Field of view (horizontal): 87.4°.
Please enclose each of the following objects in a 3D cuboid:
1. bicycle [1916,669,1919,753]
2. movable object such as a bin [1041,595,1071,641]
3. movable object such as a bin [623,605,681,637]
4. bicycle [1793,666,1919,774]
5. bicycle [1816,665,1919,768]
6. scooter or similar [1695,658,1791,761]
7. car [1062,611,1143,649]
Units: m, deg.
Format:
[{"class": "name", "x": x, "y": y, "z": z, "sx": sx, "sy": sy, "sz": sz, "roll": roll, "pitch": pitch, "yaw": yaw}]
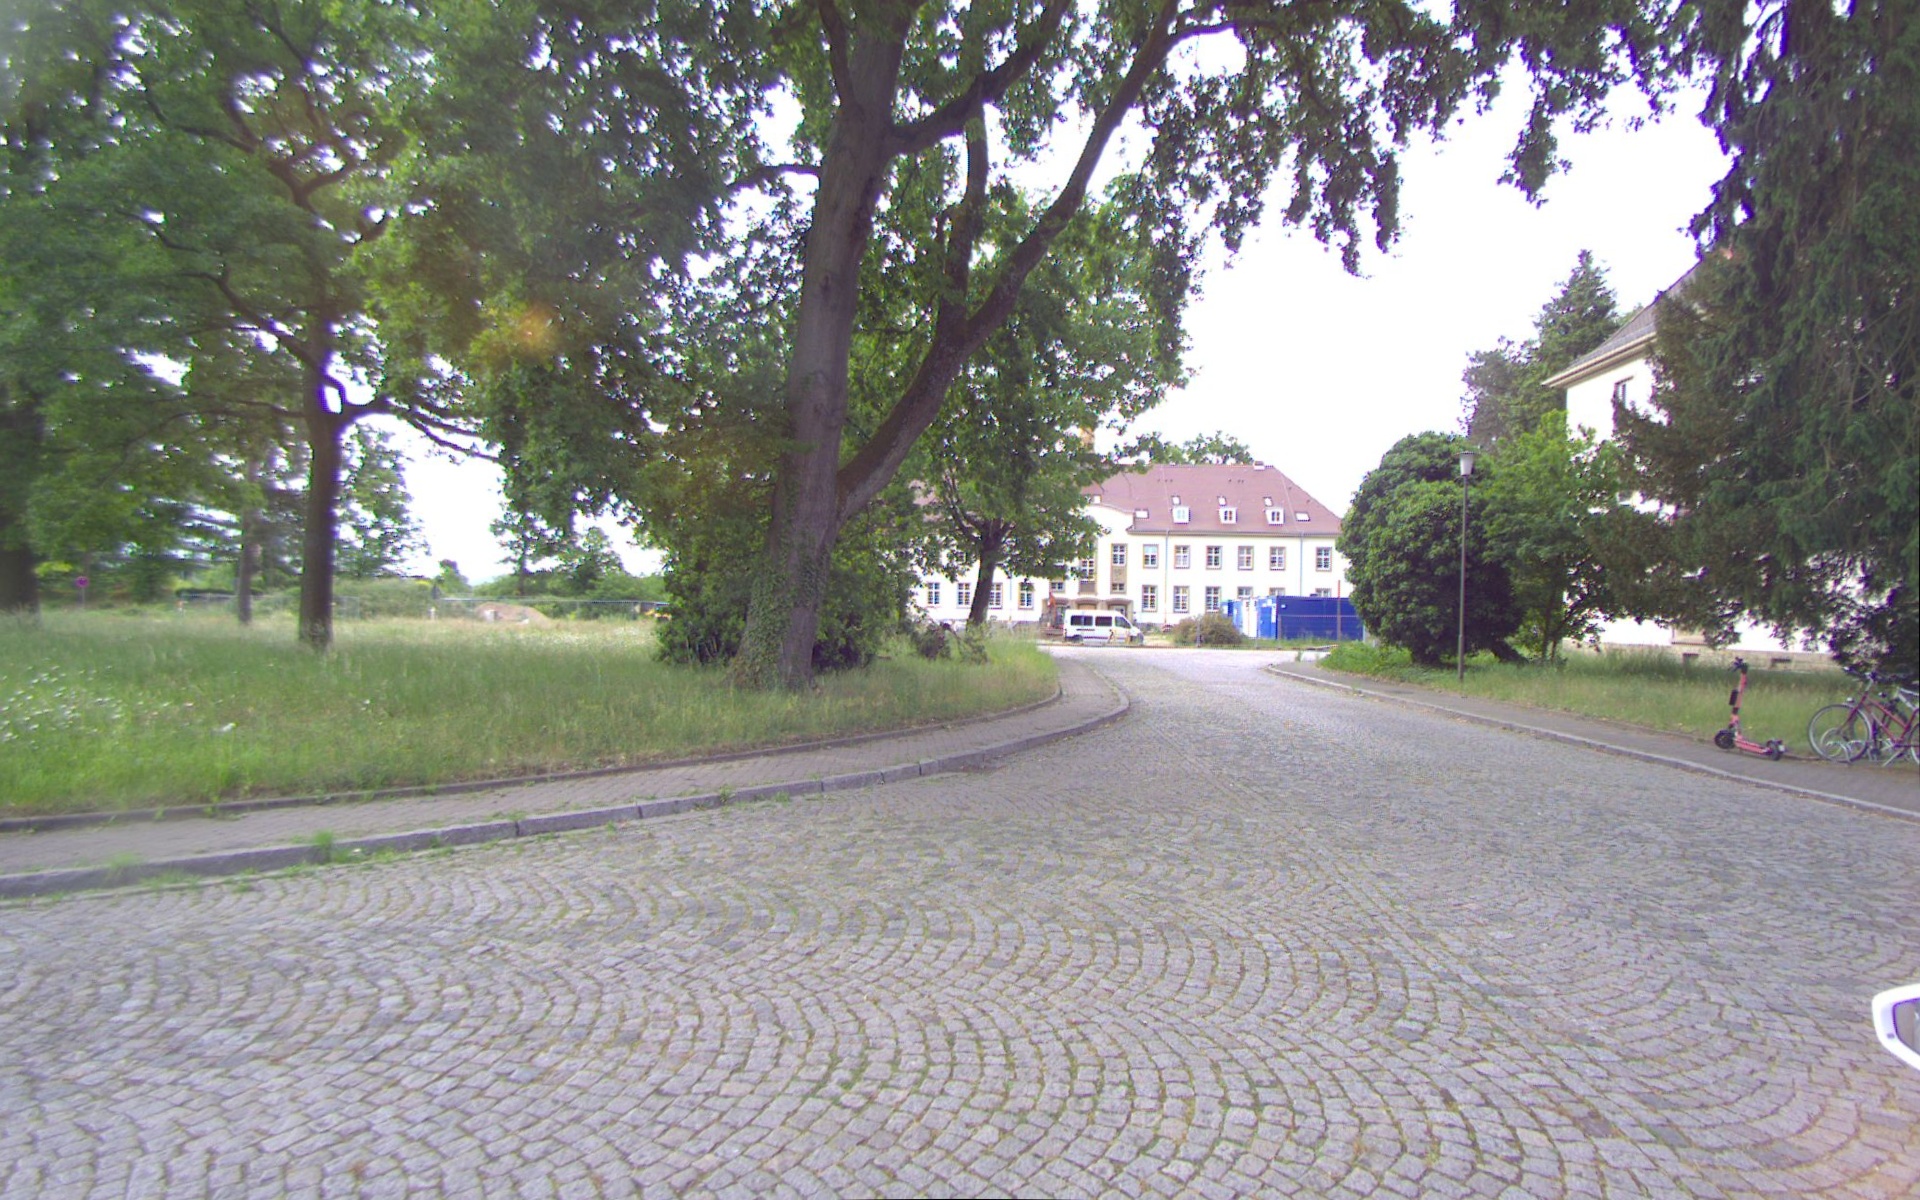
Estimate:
[{"class": "bicycle", "x": 12.883, "y": 1.421, "z": 12.163, "sx": 0.609, "sy": 1.079, "sz": 1.817, "roll": 1, "pitch": -1, "yaw": -21}, {"class": "movable object such as a bin", "x": 8.113, "y": 1.538, "z": 85.375, "sx": 1.960, "sy": 3.821, "sz": 5.318, "roll": 1, "pitch": -1, "yaw": 0}, {"class": "movable object such as a bin", "x": -25.771, "y": 1.715, "z": 83.950, "sx": 5.264, "sy": 2.590, "sz": 1.991, "roll": 0, "pitch": -1, "yaw": 39}, {"class": "bicycle", "x": 10.870, "y": 1.389, "z": 11.751, "sx": 0.542, "sy": 1.129, "sz": 1.765, "roll": 1, "pitch": -1, "yaw": -13}, {"class": "bicycle", "x": 11.327, "y": 1.387, "z": 11.924, "sx": 0.542, "sy": 1.129, "sz": 1.800, "roll": 1, "pitch": -1, "yaw": -13}, {"class": "scooter or similar", "x": 10.139, "y": 1.389, "z": 13.040, "sx": 0.350, "sy": 1.226, "sz": 1.137, "roll": 1, "pitch": -1, "yaw": 0}, {"class": "car", "x": 9.384, "y": 1.985, "z": 66.400, "sx": 5.173, "sy": 2.375, "sz": 1.911, "roll": 1, "pitch": -1, "yaw": 5}]
